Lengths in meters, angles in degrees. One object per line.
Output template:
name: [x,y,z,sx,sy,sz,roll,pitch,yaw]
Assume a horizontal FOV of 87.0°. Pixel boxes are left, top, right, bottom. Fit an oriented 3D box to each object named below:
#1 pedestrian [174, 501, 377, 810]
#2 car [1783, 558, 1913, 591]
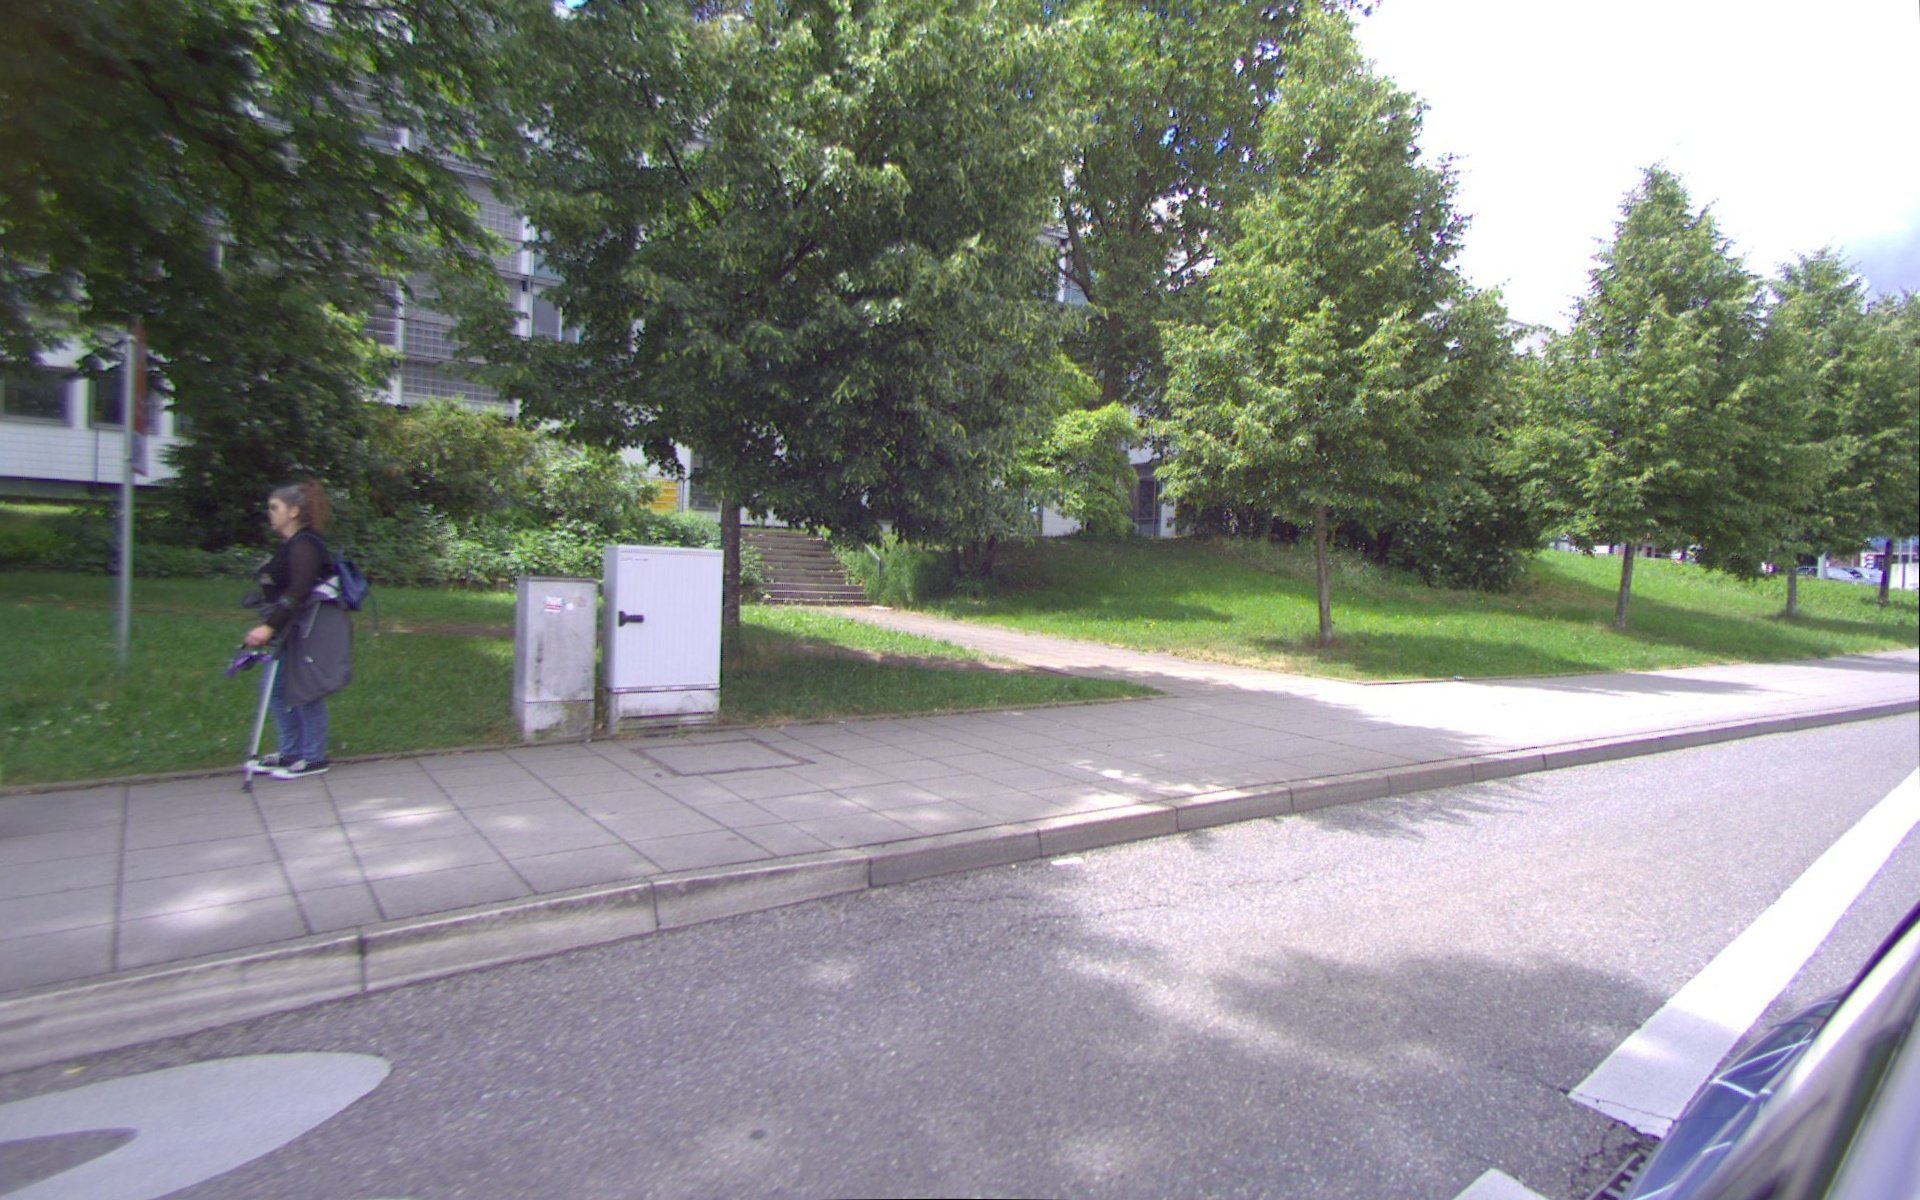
pedestrian: [-3.550,0.237,5.286,0.814,1.442,0.822,-1,2,-35]
car: [42.204,-1.244,48.249,2.010,1.483,4.333,0,3,-10]
